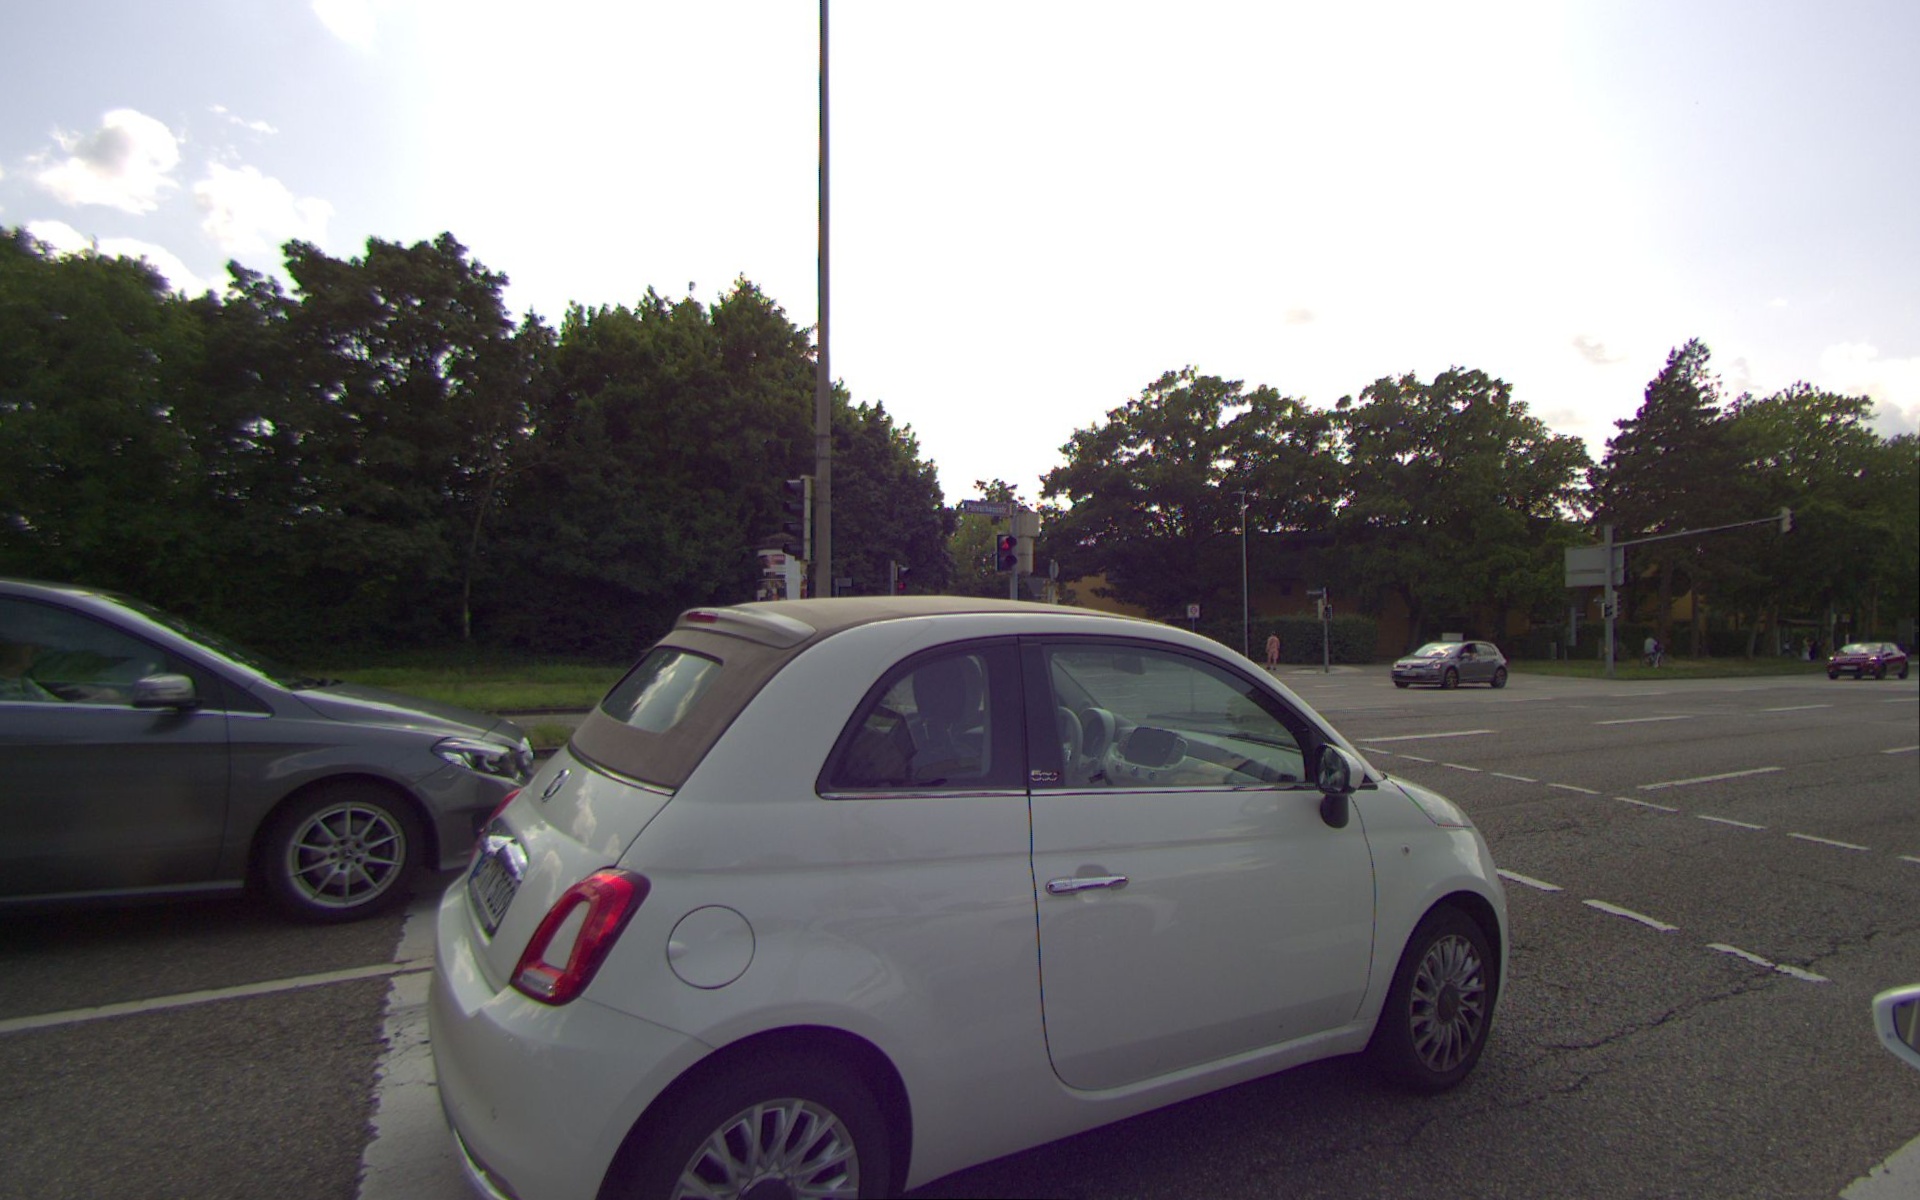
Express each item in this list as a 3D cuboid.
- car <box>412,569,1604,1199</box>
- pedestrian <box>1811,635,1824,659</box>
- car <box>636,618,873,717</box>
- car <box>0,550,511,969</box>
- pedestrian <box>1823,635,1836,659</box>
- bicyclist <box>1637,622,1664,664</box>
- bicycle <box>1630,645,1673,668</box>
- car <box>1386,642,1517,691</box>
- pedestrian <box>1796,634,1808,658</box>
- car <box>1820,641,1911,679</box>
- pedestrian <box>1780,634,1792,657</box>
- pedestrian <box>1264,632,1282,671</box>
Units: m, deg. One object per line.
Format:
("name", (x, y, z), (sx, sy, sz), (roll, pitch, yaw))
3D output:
("car", (0.297, 0.765, 3.199), (3.500, 1.517, 1.562), (2, -1, -31))
("pedestrian", (55.517, 3.041, 65.016), (0.564, 1.515, 0.418), (1, 0, 44))
("car", (-4.001, 1.297, 19.804), (4.261, 1.764, 1.662), (2, -2, -31))
("car", (-4.464, 0.625, 4.496), (4.310, 1.640, 1.690), (2, -1, -31))
("pedestrian", (55.382, 2.992, 63.974), (0.564, 1.515, 0.418), (1, 0, 44))
("bicyclist", (33.626, 2.098, 48.945), (0.820, 2.040, 0.749), (1, -2, -25))
("bicycle", (33.699, 2.739, 48.953), (2.086, 1.133, 0.753), (1, -2, -25))
("car", (14.987, 1.984, 30.601), (4.032, 1.390, 1.588), (1, -2, -29))
("pedestrian", (54.494, 2.974, 65.011), (0.564, 1.515, 0.418), (1, 0, 44))
("car", (37.025, 2.427, 41.053), (4.409, 1.484, 1.761), (2, -3, -34))
("pedestrian", (53.917, 2.961, 65.560), (0.564, 1.515, 0.418), (1, 0, 44))
("pedestrian", (14.115, 2.307, 45.235), (0.679, 1.764, 0.704), (-1, -2, 24))
